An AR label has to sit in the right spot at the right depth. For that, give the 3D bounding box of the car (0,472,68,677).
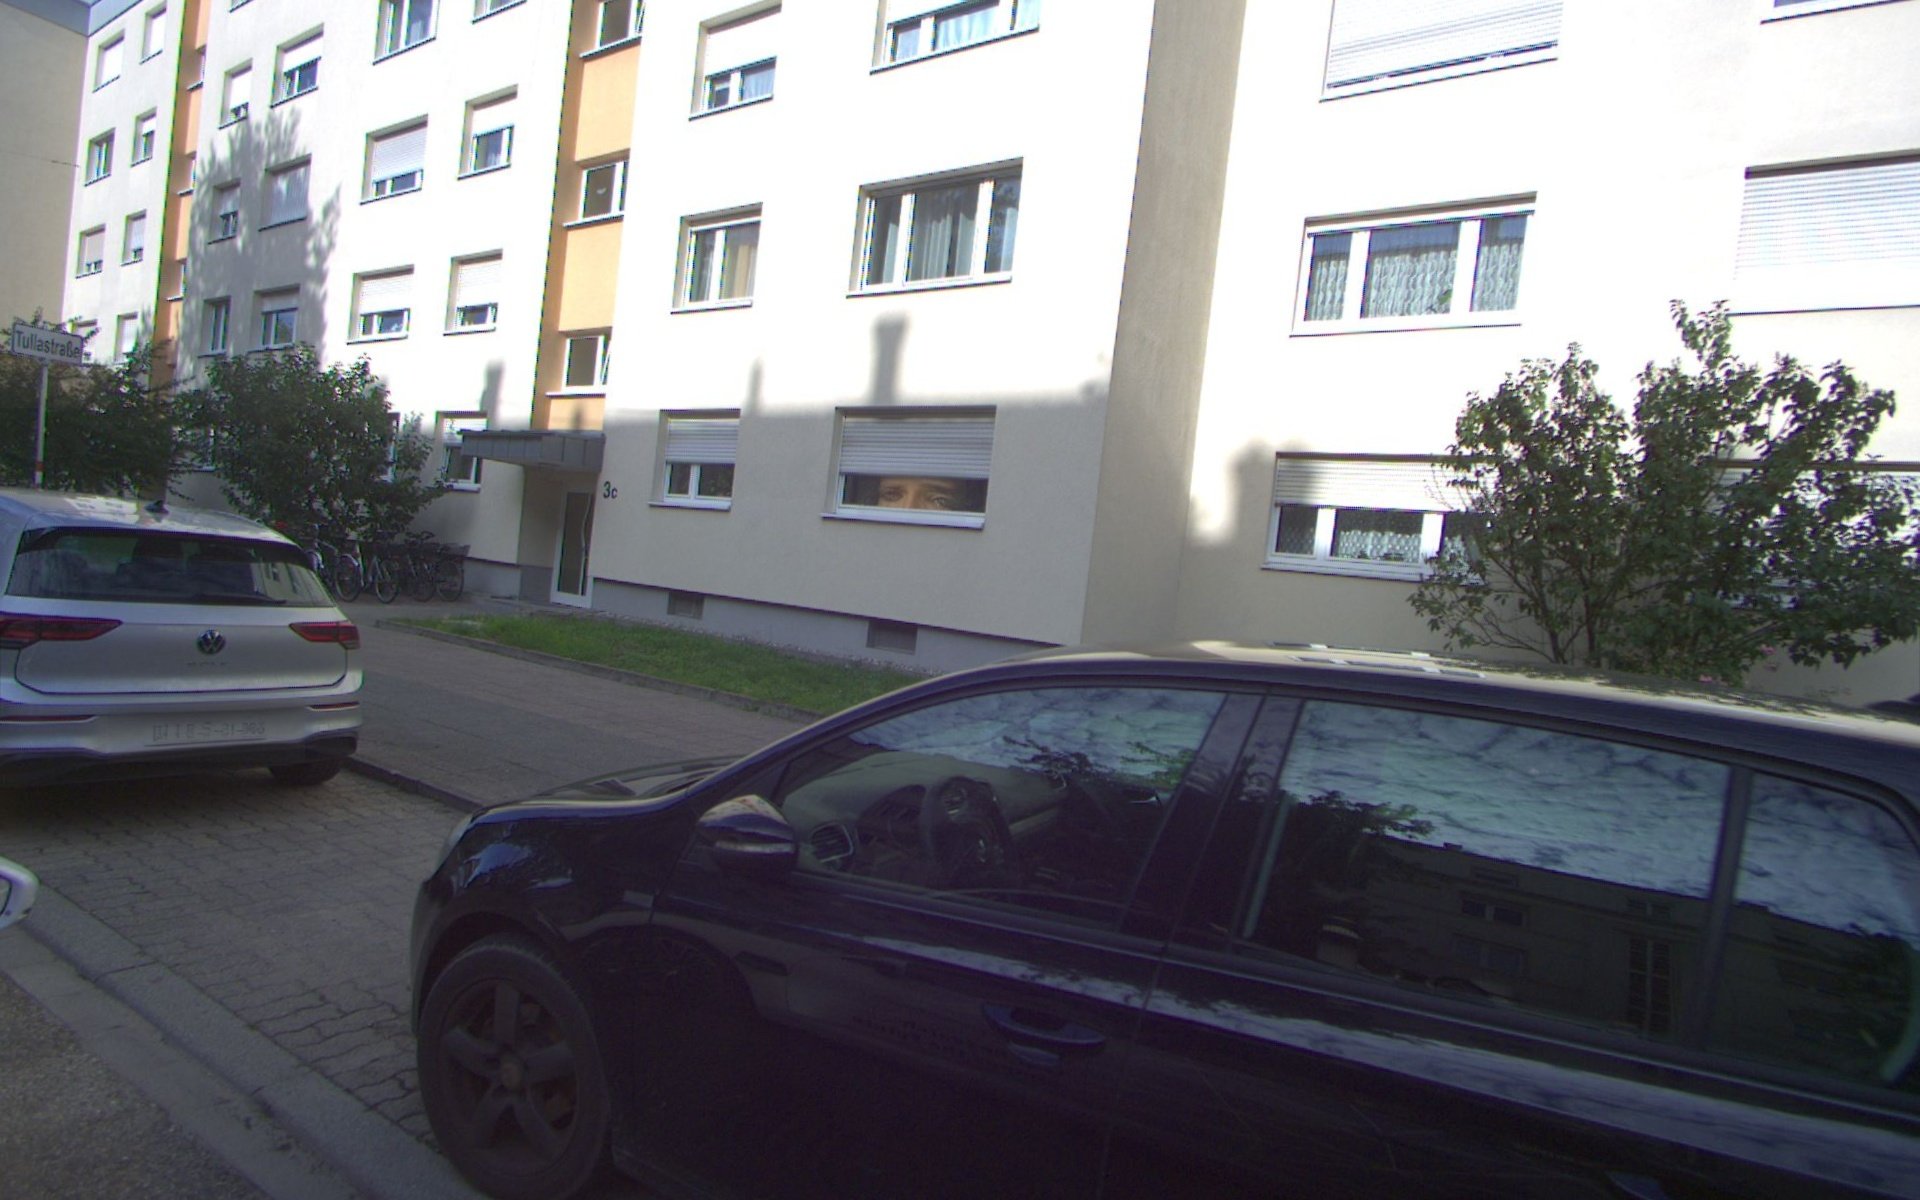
[{"bbox_3d":[-9.224,-0.420,8.125,4.119,1.535,1.730,7,2,29],"label":"car"}]

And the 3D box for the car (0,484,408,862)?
[{"bbox_3d":[-5.039,0.127,5.547,3.990,1.435,1.662,7,3,31],"label":"car"}]

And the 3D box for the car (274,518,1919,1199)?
[{"bbox_3d":[0.298,0.773,2.447,3.874,1.510,1.663,7,2,30],"label":"car"}]

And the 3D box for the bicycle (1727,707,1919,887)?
[{"bbox_3d":[6.762,1.448,7.062,2.034,1.045,0.501,7,4,31],"label":"bicycle"}]

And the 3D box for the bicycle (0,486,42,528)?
[{"bbox_3d":[-24.194,-2.401,25.846,1.491,0.939,0.459,8,3,30],"label":"bicycle"}]

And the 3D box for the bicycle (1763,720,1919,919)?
[{"bbox_3d":[6.276,1.435,6.051,2.083,1.045,0.593,7,4,31],"label":"bicycle"}]

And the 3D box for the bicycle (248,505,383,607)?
[{"bbox_3d":[-9.821,-0.692,15.277,2.591,1.308,0.604,7,3,31],"label":"bicycle"}]

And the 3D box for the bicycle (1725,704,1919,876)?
[{"bbox_3d":[7.042,1.469,7.492,1.992,1.045,0.501,7,4,31],"label":"bicycle"}]

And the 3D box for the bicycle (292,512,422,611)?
[{"bbox_3d":[-9.497,-0.624,15.792,2.591,1.309,0.595,7,4,31],"label":"bicycle"}]

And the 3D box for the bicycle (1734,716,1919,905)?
[{"bbox_3d":[6.489,1.467,6.617,2.060,1.045,0.501,7,4,31],"label":"bicycle"}]

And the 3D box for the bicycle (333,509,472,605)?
[{"bbox_3d":[-9.117,-0.720,16.413,2.591,1.308,0.727,7,2,31],"label":"bicycle"}]

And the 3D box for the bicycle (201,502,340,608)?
[{"bbox_3d":[-10.116,-0.679,14.715,2.591,1.308,0.604,7,2,31],"label":"bicycle"}]

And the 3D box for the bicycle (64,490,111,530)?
[{"bbox_3d":[-23.559,-2.432,27.149,1.491,0.939,0.459,8,3,30],"label":"bicycle"}]

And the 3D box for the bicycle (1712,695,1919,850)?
[{"bbox_3d":[7.887,1.522,8.682,2.099,1.045,0.501,7,5,32],"label":"bicycle"}]

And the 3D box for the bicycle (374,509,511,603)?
[{"bbox_3d":[-8.800,-0.765,17.060,2.591,1.307,0.727,7,1,31],"label":"bicycle"}]
